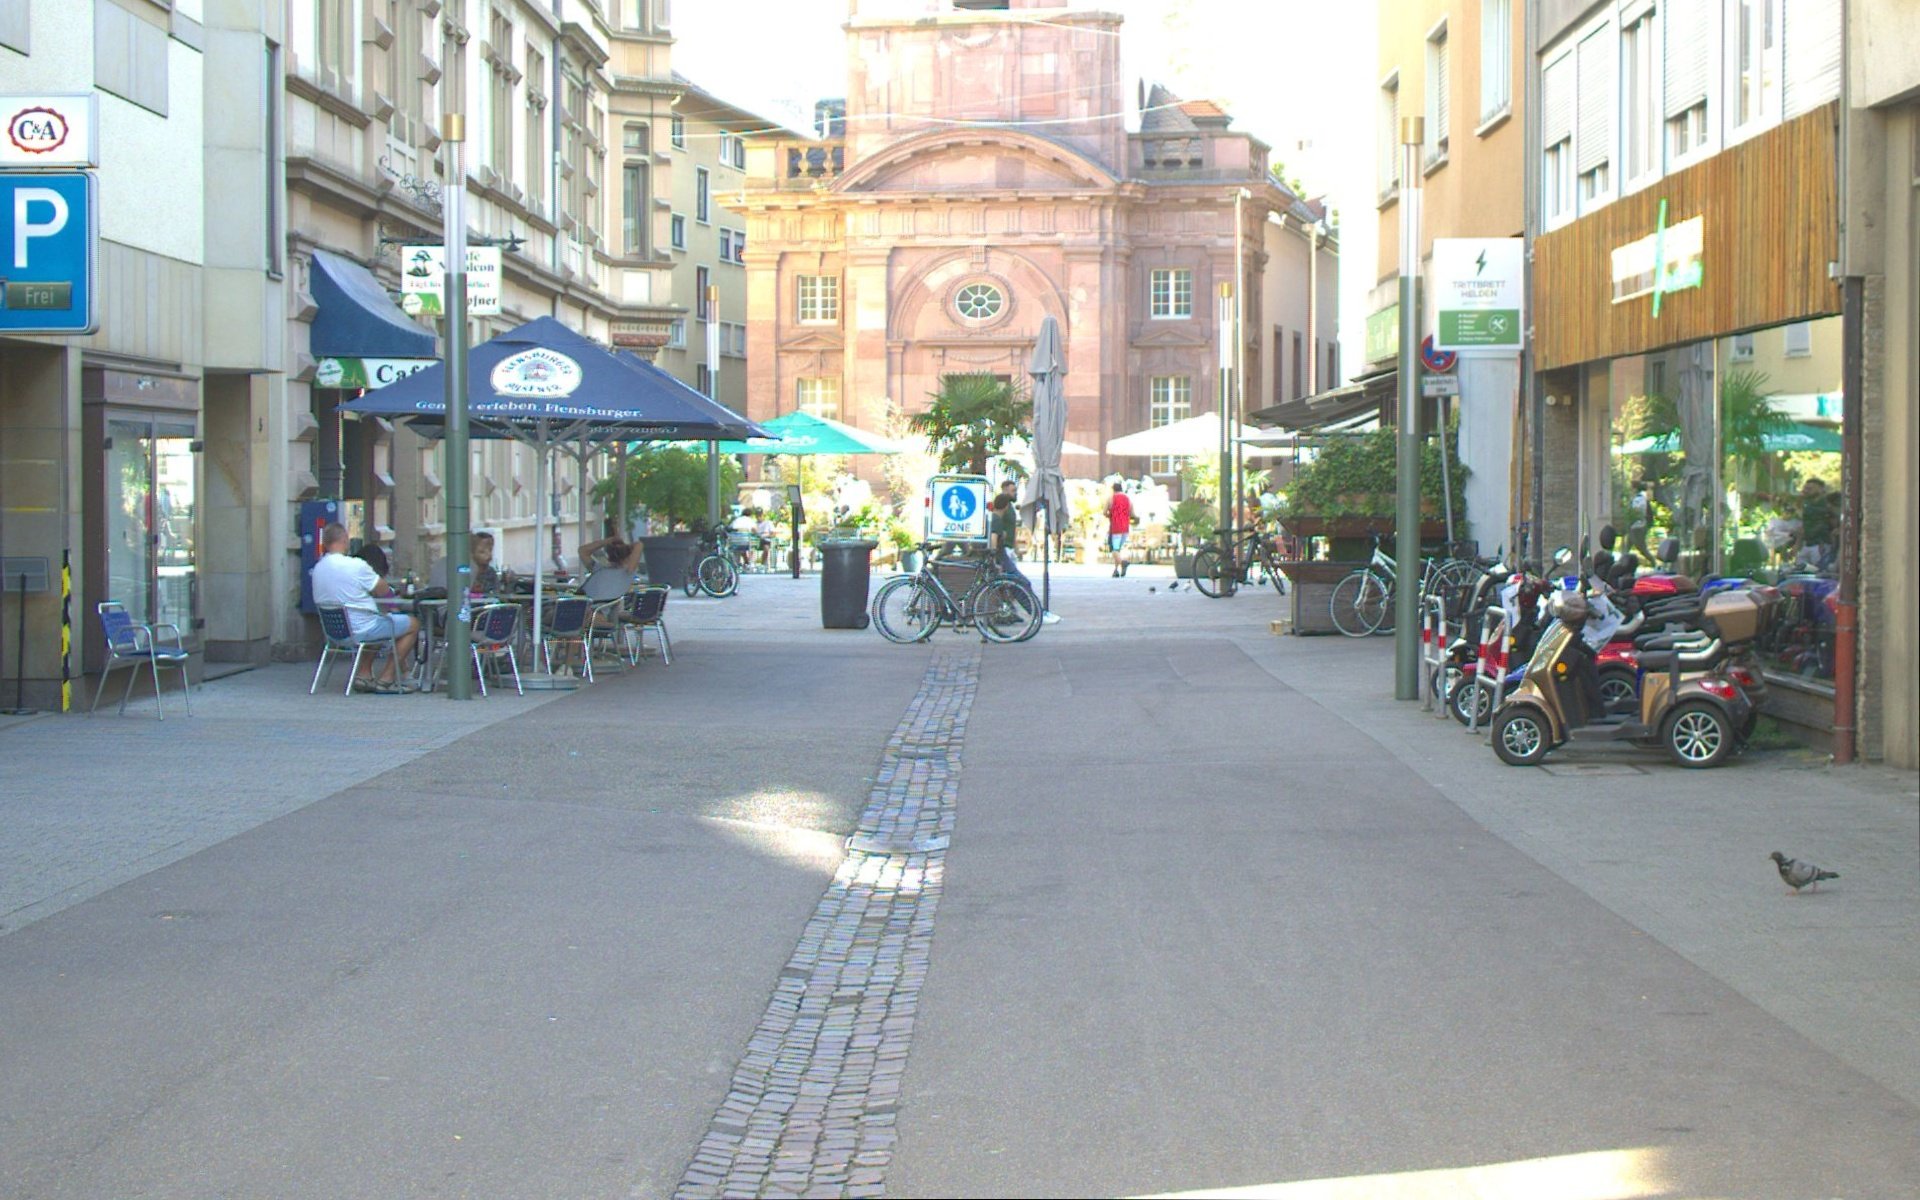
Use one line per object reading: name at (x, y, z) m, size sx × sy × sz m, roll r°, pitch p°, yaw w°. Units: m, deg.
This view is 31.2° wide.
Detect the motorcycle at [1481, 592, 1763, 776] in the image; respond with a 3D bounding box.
motorcycle at (3.832, 0.475, 19.925) m, size 1.565 × 1.038 × 0.372 m, roll 0°, pitch 1°, yaw 19°

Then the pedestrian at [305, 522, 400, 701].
pedestrian at (-4.720, 0.080, 26.697) m, size 0.708 × 1.363 × 0.720 m, roll 0°, pitch 2°, yaw -11°

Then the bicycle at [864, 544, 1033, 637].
bicycle at (-0.133, -0.108, 37.376) m, size 1.823 × 1.001 × 0.381 m, roll 0°, pitch 2°, yaw -2°

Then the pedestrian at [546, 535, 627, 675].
pedestrian at (-3.289, 0.035, 30.243) m, size 0.692 × 1.211 × 0.583 m, roll 0°, pitch 2°, yaw -7°

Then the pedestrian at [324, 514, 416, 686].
pedestrian at (-4.777, -0.010, 27.822) m, size 0.717 × 1.363 × 0.710 m, roll 0°, pitch 2°, yaw -11°

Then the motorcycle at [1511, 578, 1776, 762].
motorcycle at (4.101, 0.409, 20.643) m, size 1.518 × 1.072 × 0.412 m, roll 0°, pitch 1°, yaw 19°

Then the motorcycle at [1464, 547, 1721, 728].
motorcycle at (4.206, 0.239, 22.868) m, size 1.626 × 1.171 × 0.480 m, roll 0°, pitch 1°, yaw 19°

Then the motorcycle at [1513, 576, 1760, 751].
motorcycle at (4.251, 0.387, 21.609) m, size 1.485 × 1.072 × 0.412 m, roll 0°, pitch 1°, yaw 19°

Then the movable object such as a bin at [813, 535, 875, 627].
movable object such as a bin at (-1.355, -0.228, 40.285) m, size 0.721 × 1.071 × 0.374 m, roll 0°, pitch 2°, yaw 0°

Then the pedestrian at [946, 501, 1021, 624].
pedestrian at (0.286, -0.458, 41.497) m, size 0.884 × 1.459 × 0.731 m, roll 0°, pitch 2°, yaw 2°

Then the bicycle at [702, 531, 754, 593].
bicycle at (-3.328, -0.560, 49.425) m, size 0.456 × 0.847 × 2.146 m, roll 0°, pitch 2°, yaw 4°

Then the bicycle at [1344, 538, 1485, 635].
bicycle at (4.819, -0.152, 36.461) m, size 1.464 × 1.001 × 0.573 m, roll 0°, pitch 2°, yaw 8°

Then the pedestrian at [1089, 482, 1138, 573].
pedestrian at (2.779, -1.323, 62.349) m, size 0.657 × 1.635 × 0.611 m, roll 1°, pitch 2°, yaw 37°

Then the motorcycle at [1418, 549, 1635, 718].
motorcycle at (4.032, 0.230, 24.482) m, size 1.485 × 1.177 × 0.412 m, roll 0°, pitch 1°, yaw 16°

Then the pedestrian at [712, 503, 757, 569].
pedestrian at (-4.166, -1.182, 63.542) m, size 0.700 × 1.213 × 0.719 m, roll 0°, pitch 2°, yaw 7°

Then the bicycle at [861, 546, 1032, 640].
bicycle at (-0.146, -0.074, 36.990) m, size 1.823 × 1.001 × 0.381 m, roll 0°, pitch 2°, yaw -2°

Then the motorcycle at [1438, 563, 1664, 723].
motorcycle at (4.061, 0.284, 23.631) m, size 1.485 × 1.072 × 0.412 m, roll 0°, pitch 1°, yaw 19°

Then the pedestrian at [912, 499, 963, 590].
pedestrian at (-0.383, -0.949, 58.632) m, size 0.784 × 1.550 × 0.535 m, roll 0°, pitch 2°, yaw 9°

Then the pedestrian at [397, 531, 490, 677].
pedestrian at (-4.446, 0.025, 29.623) m, size 0.765 × 1.229 × 0.831 m, roll 0°, pitch 2°, yaw -7°

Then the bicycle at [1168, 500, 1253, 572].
bicycle at (4.572, -1.167, 62.667) m, size 1.586 × 1.303 × 0.366 m, roll -1°, pitch 2°, yaw -28°

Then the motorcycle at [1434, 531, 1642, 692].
motorcycle at (4.297, 0.078, 25.555) m, size 1.485 × 1.177 × 0.412 m, roll 0°, pitch 1°, yaw 16°
